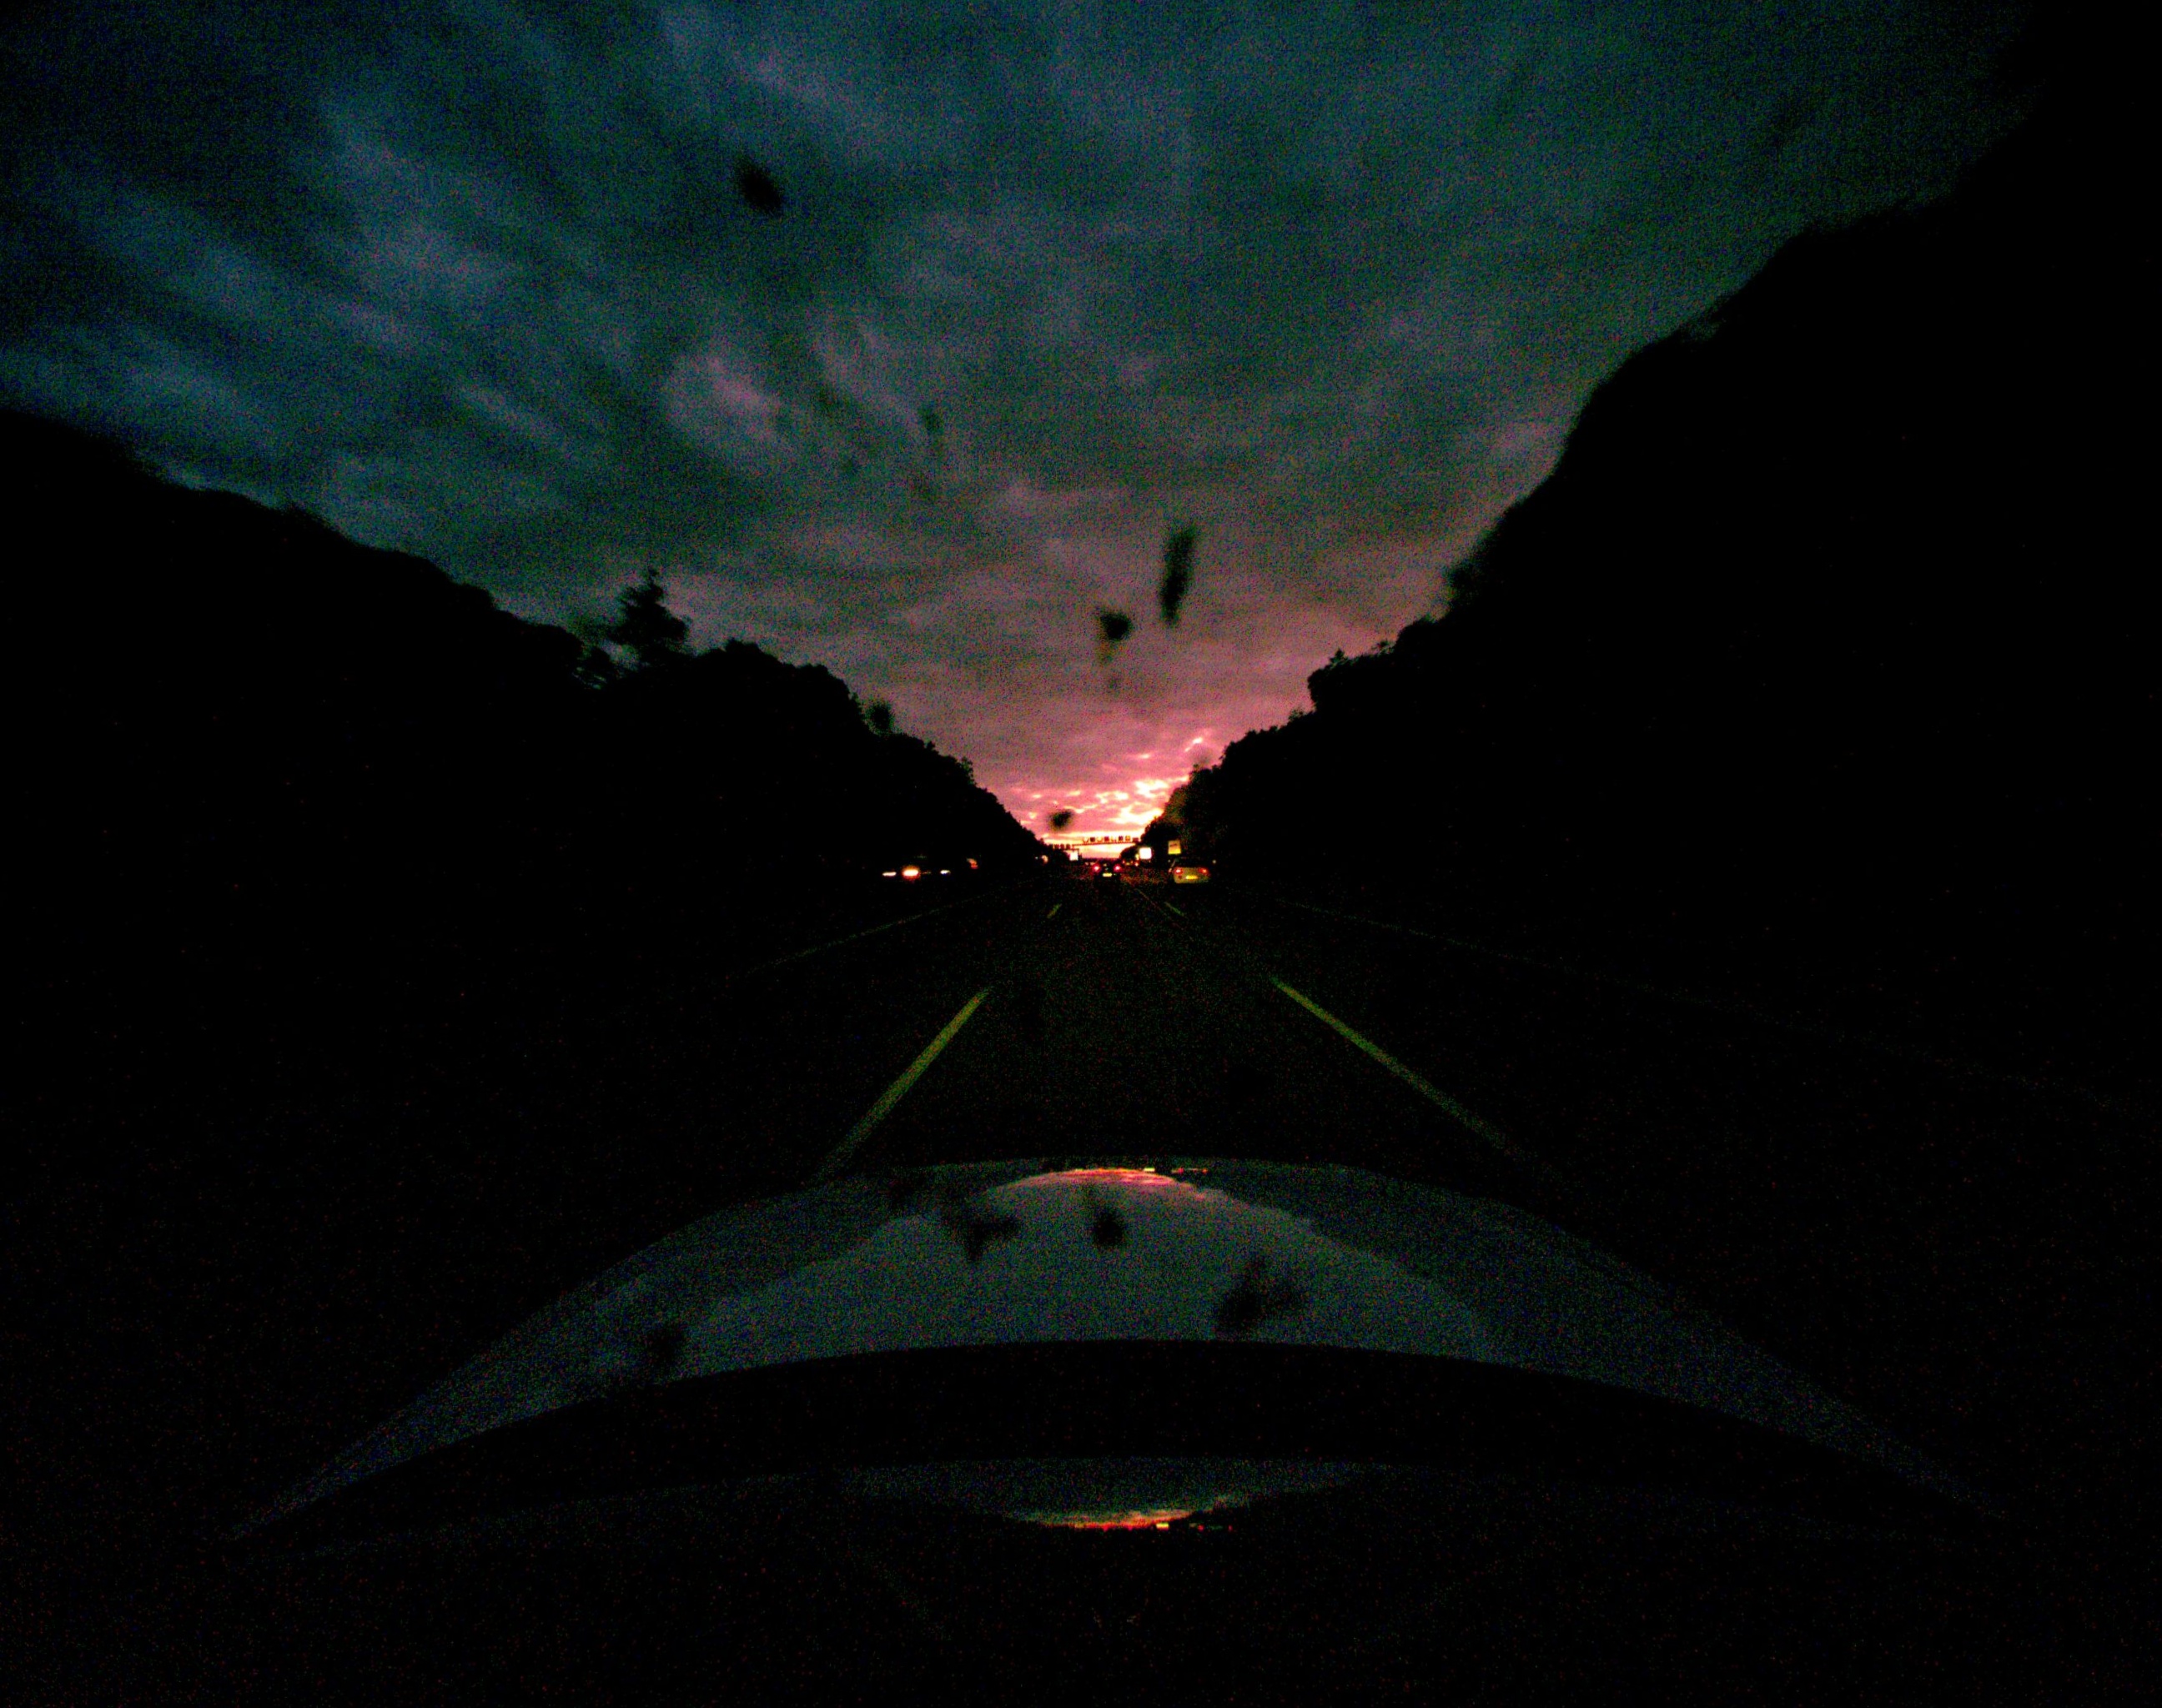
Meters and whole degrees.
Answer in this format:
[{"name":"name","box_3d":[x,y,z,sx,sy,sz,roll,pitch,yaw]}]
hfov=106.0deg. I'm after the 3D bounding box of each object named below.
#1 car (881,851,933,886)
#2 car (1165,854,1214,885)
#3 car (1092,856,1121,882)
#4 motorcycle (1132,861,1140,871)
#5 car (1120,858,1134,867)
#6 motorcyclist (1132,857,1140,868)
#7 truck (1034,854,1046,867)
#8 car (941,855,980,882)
[{"name":"car","box_3d":[-13.432,1.067,63.379,2.305,2.484,7.518,-2,0,0]},{"name":"car","box_3d":[5.374,0.805,40.732,1.820,1.476,4.397,0,-2,0]},{"name":"car","box_3d":[1.557,0.958,50.227,1.697,1.509,4.233,0,-2,2]},{"name":"motorcycle","box_3d":[6.341,1.392,94.239,0.827,1.134,2.476,-2,-1,1]},{"name":"car","box_3d":[7.544,1.444,135.068,1.861,1.494,4.393,0,-2,-3]},{"name":"motorcyclist","box_3d":[6.327,0.993,94.185,0.827,1.292,1.190,-2,-1,1]},{"name":"truck","box_3d":[-12.599,1.999,251.355,3.369,4.003,6.879,-2,-1,0]},{"name":"car","box_3d":[-9.452,1.124,64.452,1.985,2.013,5.363,-2,0,3]}]
